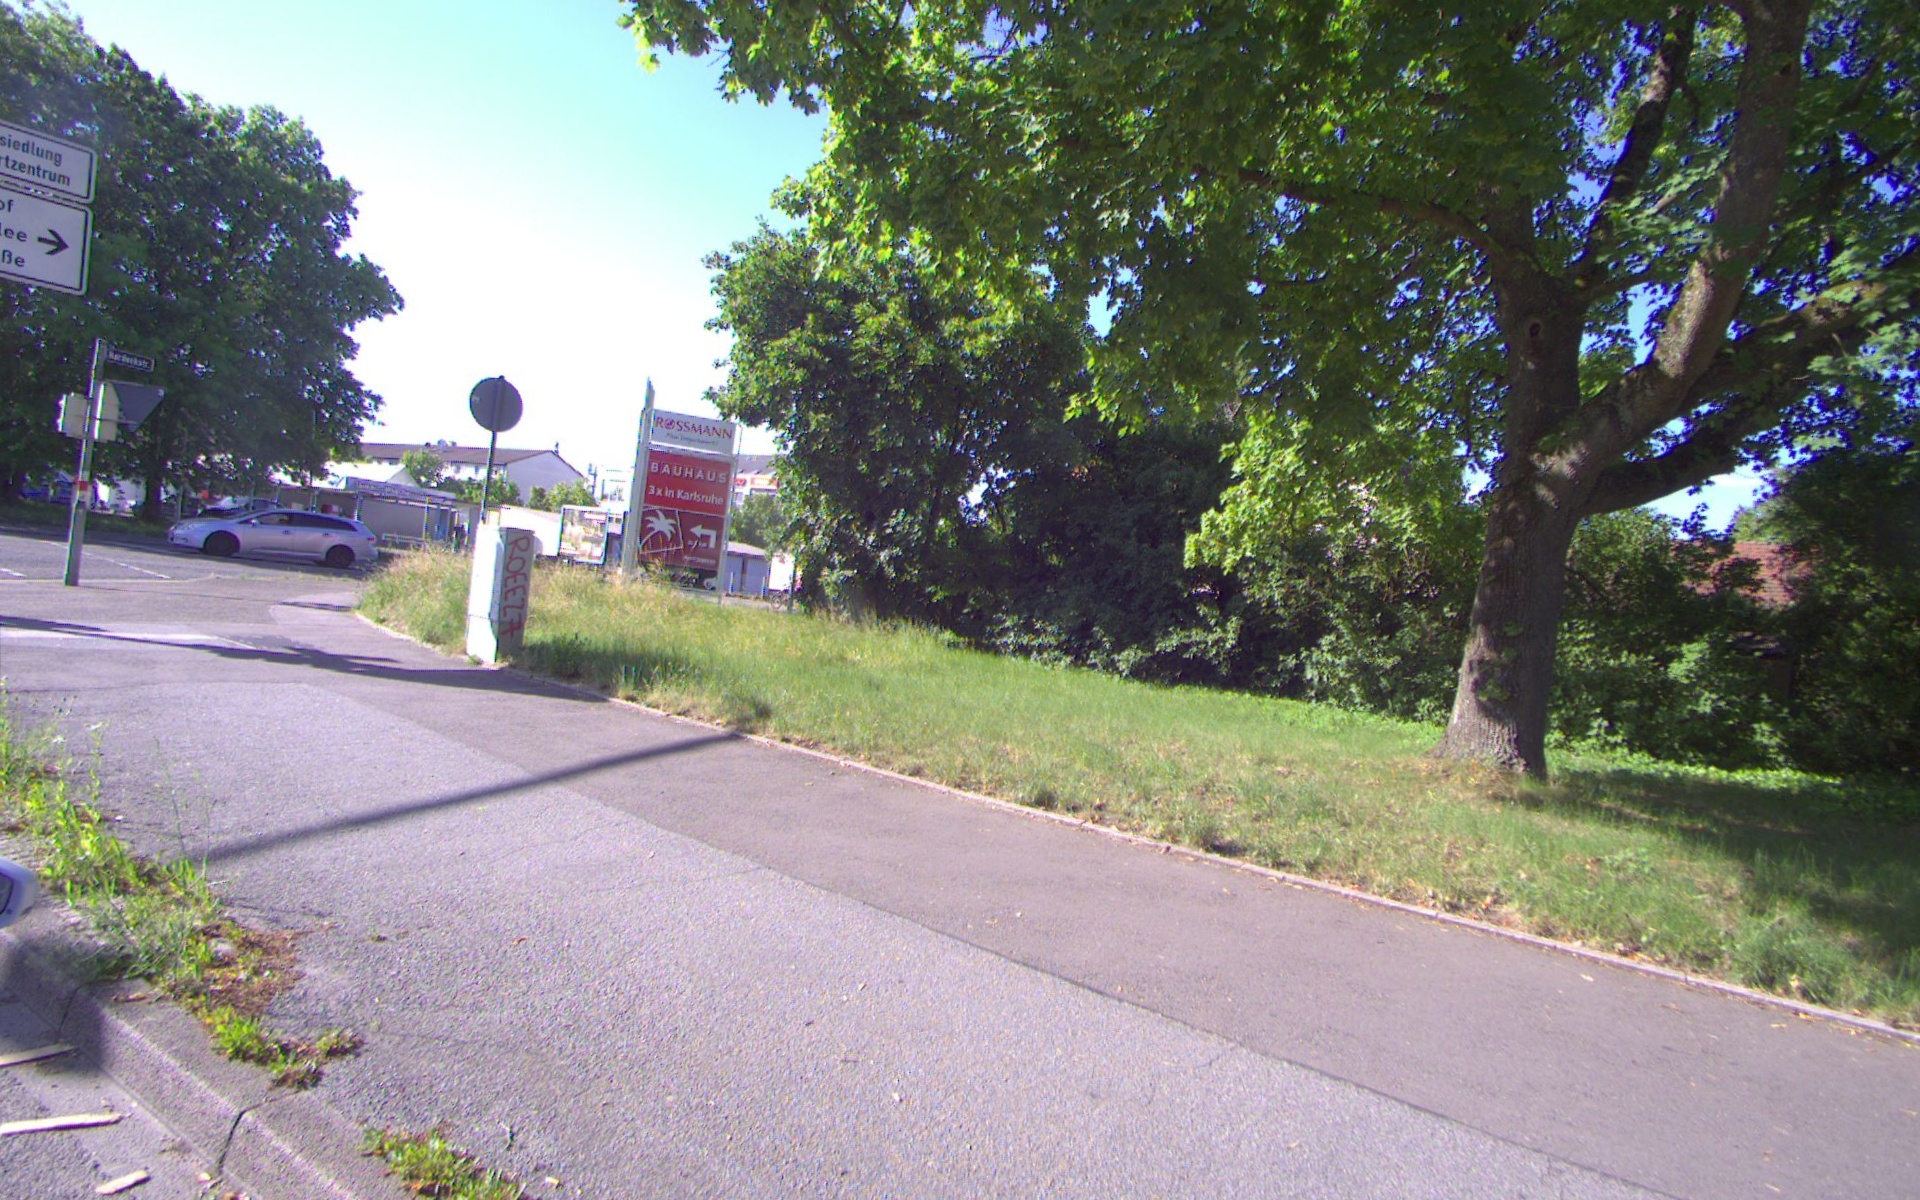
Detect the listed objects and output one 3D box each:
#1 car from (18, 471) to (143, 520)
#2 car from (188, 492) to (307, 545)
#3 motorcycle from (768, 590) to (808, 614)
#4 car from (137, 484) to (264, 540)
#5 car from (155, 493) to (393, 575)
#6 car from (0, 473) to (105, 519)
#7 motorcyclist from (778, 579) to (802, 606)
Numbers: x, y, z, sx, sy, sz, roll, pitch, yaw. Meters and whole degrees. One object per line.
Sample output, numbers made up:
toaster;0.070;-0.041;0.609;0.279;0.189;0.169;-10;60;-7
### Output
car;-39.176;-4.625;44.936;1.712;1.537;3.902;7;0;9
car;-30.293;-3.426;42.921;1.712;1.701;4.001;7;0;9
motorcycle;-8.124;0.110;47.481;0.645;0.949;1.781;8;1;42
car;-32.341;-3.723;42.993;1.962;1.771;4.001;7;0;9
car;-18.642;-1.759;27.530;1.973;1.504;4.994;7;0;43
car;-41.987;-4.766;46.161;1.712;1.537;3.902;7;0;9
motorcyclist;-8.036;-0.362;47.513;0.645;1.191;0.765;8;2;42
